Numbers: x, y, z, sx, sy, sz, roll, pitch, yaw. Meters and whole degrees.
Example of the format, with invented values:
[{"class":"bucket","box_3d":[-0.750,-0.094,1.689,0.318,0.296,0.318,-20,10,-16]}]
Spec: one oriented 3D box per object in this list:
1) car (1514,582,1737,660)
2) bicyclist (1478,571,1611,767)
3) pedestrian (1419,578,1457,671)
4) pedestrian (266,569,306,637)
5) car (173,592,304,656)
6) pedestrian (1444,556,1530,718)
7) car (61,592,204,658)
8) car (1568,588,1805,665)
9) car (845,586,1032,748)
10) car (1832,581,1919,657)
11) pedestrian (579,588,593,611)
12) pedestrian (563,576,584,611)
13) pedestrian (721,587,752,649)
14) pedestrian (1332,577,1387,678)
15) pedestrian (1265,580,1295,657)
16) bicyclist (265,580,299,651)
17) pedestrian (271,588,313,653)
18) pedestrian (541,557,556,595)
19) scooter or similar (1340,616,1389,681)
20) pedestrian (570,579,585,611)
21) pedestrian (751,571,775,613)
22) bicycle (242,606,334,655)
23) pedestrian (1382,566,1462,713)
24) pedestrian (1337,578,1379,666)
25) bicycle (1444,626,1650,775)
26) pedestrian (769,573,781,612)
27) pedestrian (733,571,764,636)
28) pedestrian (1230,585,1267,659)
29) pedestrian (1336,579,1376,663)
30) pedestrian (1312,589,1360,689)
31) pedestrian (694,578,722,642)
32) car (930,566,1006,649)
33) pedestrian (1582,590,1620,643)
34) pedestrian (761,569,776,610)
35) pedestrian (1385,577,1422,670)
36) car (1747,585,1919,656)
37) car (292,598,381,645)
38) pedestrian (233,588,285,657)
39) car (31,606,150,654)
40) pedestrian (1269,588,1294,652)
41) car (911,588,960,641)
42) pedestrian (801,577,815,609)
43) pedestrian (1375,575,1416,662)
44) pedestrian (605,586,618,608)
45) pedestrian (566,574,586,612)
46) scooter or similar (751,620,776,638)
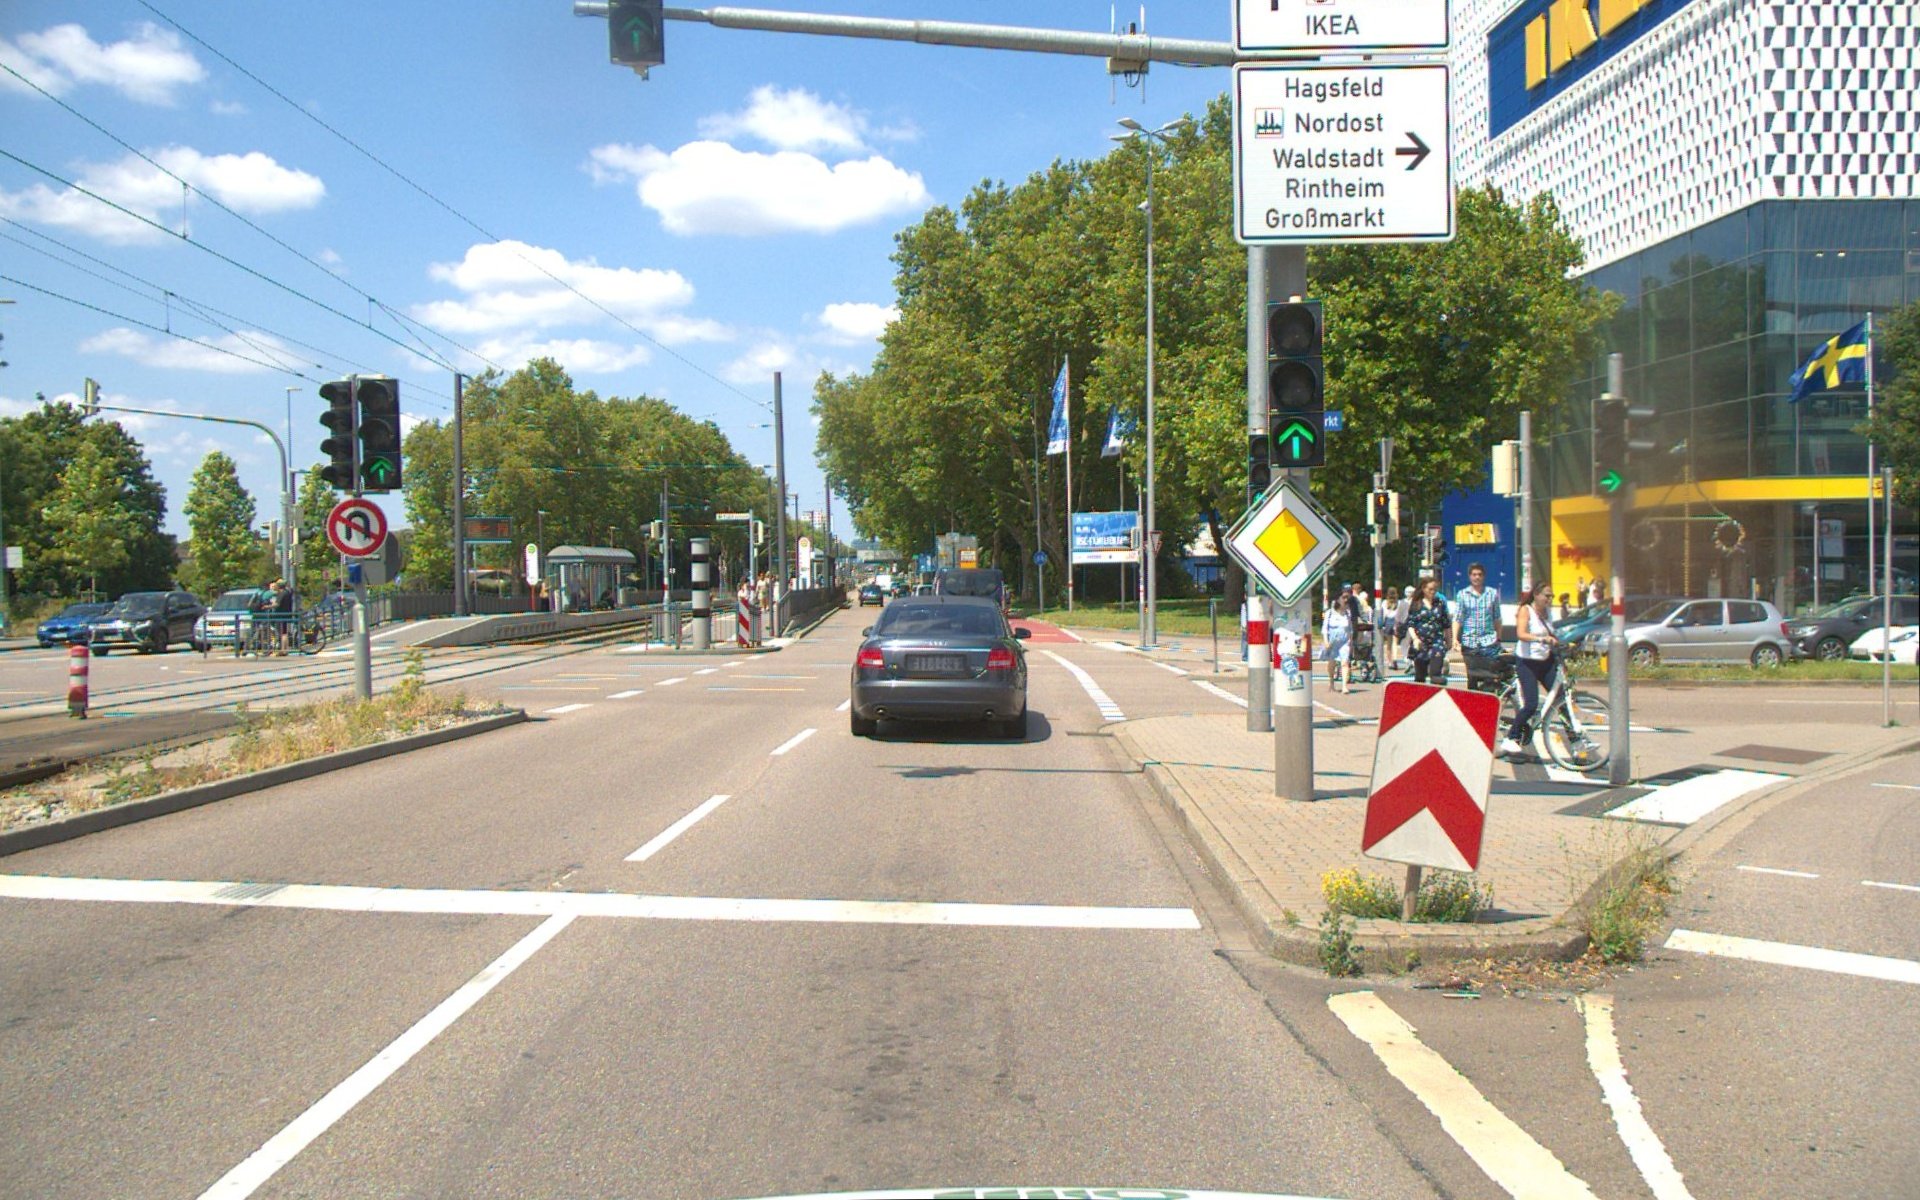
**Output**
[{"class":"car","box_3d":[14.018,0.422,34.978,3.908,1.583,1.998,0,0,-4]},{"class":"bicyclist","box_3d":[5.379,0.611,15.250,0.801,1.730,0.795,0,2,-18]},{"class":"pedestrian","box_3d":[8.664,0.440,30.016,0.589,1.666,0.864,0,-1,11]},{"class":"pedestrian","box_3d":[-17.215,0.068,42.269,0.747,1.701,0.763,0,1,-5]},{"class":"car","box_3d":[-19.886,0.621,45.765,1.953,1.657,3.999,0,0,-2]},{"class":"pedestrian","box_3d":[6.285,0.428,19.757,0.787,1.897,0.798,0,0,2]},{"class":"car","box_3d":[-22.461,0.649,45.068,1.953,1.657,3.999,0,1,-2]},{"class":"car","box_3d":[13.861,0.487,31.697,3.745,1.421,1.803,0,0,0]},{"class":"car","box_3d":[-0.192,0.631,17.923,1.804,1.510,4.000,0,1,0]},{"class":"car","box_3d":[19.418,0.355,31.991,4.132,1.422,1.804,0,0,1]},{"class":"pedestrian","box_3d":[-18.595,-0.033,82.296,0.565,1.113,0.639,-1,1,-2]},{"class":"pedestrian","box_3d":[-18.617,-0.304,79.639,0.811,1.667,0.576,0,1,35]},{"class":"pedestrian","box_3d":[-5.806,0.470,43.007,0.770,1.600,0.764,0,0,-6]},{"class":"pedestrian","box_3d":[6.820,0.454,28.277,0.765,1.702,0.947,0,0,4]},{"class":"pedestrian","box_3d":[7.259,0.409,37.533,0.609,1.712,0.726,0,0,15]},{"class":"bicyclist","box_3d":[-15.842,0.358,38.657,0.654,1.643,0.730,0,0,-19]},{"class":"pedestrian","box_3d":[-16.502,0.507,40.878,0.747,1.575,0.763,0,1,-5]},{"class":"pedestrian","box_3d":[-18.079,-1.053,72.641,0.547,1.666,0.805,0,1,-10]},{"class":"scooter or similar","box_3d":[6.777,0.803,27.738,0.675,1.049,0.863,0,0,6]},{"class":"pedestrian","box_3d":[-18.582,-0.251,80.412,0.565,1.560,0.639,-1,1,-2]},{"class":"pedestrian","box_3d":[-7.892,-0.325,66.252,0.873,1.633,0.923,0,1,-4]},{"class":"bicycle","box_3d":[-15.709,0.713,38.721,1.941,1.120,0.760,0,0,-19]},{"class":"pedestrian","box_3d":[5.744,0.480,20.598,0.787,1.790,0.798,0,0,2]},{"class":"pedestrian","box_3d":[7.792,0.415,32.386,0.778,1.688,0.853,0,0,14]},{"class":"bicycle","box_3d":[5.369,0.884,15.264,0.816,1.182,1.870,0,2,-18]},{"class":"pedestrian","box_3d":[-7.611,-0.307,68.069,0.487,1.605,0.556,-1,1,-4]},{"class":"pedestrian","box_3d":[-6.041,0.106,47.277,0.846,1.833,0.882,0,0,-7]},{"class":"pedestrian","box_3d":[6.465,0.482,37.015,0.749,1.634,0.897,0,0,15]},{"class":"pedestrian","box_3d":[8.021,0.413,33.467,0.778,1.688,0.853,0,0,14]},{"class":"pedestrian","box_3d":[5.805,0.588,25.560,0.577,1.501,0.806,1,0,3]},{"class":"pedestrian","box_3d":[-6.765,0.268,44.450,0.718,1.702,0.678,0,0,-6]},{"class":"car","box_3d":[0.165,0.169,42.082,1.811,1.993,4.144,0,0,-1]},{"class":"pedestrian","box_3d":[19.632,0.493,50.639,0.900,1.613,0.632,0,1,-8]},{"class":"pedestrian","box_3d":[-8.056,-0.429,69.535,0.601,1.710,0.719,0,0,-5]},{"class":"pedestrian","box_3d":[8.069,0.432,30.137,0.593,1.666,0.864,0,-1,11]},{"class":"car","box_3d":[19.466,0.419,35.508,4.313,1.468,1.852,0,0,-4]},{"class":"car","box_3d":[-23.638,0.794,62.819,1.953,1.657,3.999,0,0,-2]},{"class":"pedestrian","box_3d":[-16.902,0.543,39.901,0.938,1.638,0.763,0,1,-5]},{"class":"car","box_3d":[-29.439,0.981,56.179,1.954,1.470,4.347,0,1,-4]},{"class":"pedestrian","box_3d":[8.100,0.502,41.714,0.516,1.607,0.612,0,0,1]},{"class":"car","box_3d":[-0.964,0.523,64.664,1.811,1.993,4.144,0,0,-1]},{"class":"pedestrian","box_3d":[-8.274,-0.382,89.834,0.718,1.694,0.742,0,1,-4]},{"class":"pedestrian","box_3d":[8.597,0.361,32.661,0.778,1.688,0.853,0,0,14]},{"class":"pedestrian","box_3d":[-18.949,-0.159,89.882,0.565,1.211,0.639,-1,1,-2]},{"class":"pedestrian","box_3d":[-18.167,-0.342,78.217,0.723,1.759,0.576,0,1,34]},{"class":"scooter or similar","box_3d":[-5.638,0.828,47.412,0.712,0.514,0.457,0,1,-6]}]
